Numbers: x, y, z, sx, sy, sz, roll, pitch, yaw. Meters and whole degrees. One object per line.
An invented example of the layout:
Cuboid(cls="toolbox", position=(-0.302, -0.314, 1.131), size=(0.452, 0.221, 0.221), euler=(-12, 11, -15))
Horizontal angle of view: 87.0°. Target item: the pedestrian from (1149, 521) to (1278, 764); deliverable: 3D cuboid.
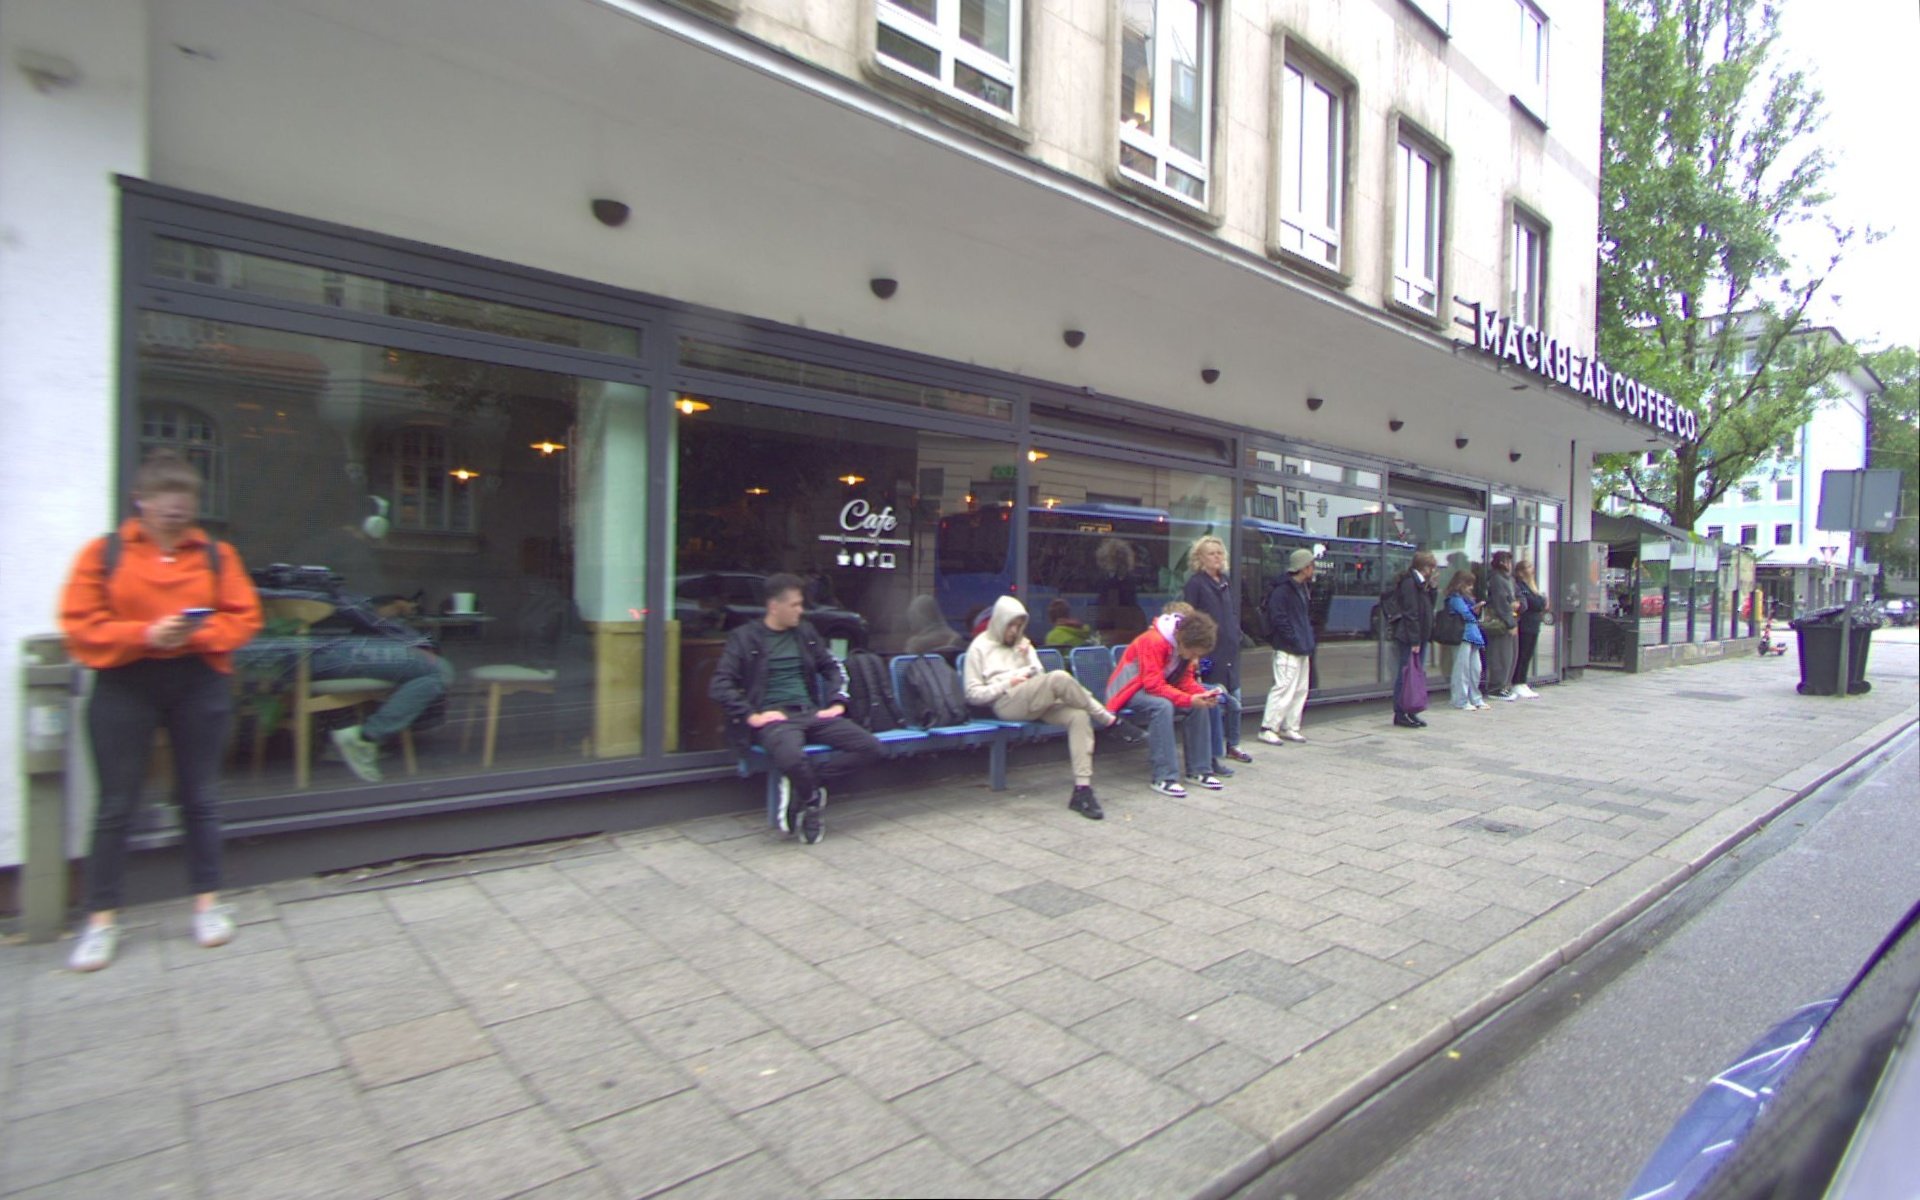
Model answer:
Cuboid(cls="pedestrian", position=(1.941, 0.295, 7.768), size=(0.672, 1.755, 0.659), euler=(0, 1, -40))

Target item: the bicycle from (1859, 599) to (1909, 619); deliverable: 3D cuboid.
Cuboid(cls="bicycle", position=(55.113, 0.540, 60.394), size=(2.114, 1.131, 0.621), euler=(2, 2, 40))

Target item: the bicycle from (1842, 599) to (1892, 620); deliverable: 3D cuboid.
Cuboid(cls="bicycle", position=(52.325, 0.558, 58.395), size=(2.114, 1.131, 0.621), euler=(2, 2, 40))

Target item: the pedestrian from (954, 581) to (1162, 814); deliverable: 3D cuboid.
Cuboid(cls="pedestrian", position=(0.575, 0.523, 6.158), size=(0.656, 1.252, 1.099), euler=(0, 1, -40))

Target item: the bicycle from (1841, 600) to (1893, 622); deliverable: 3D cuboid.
Cuboid(cls="bicycle", position=(50.409, 0.593, 56.259), size=(2.114, 1.131, 0.728), euler=(2, 2, 40))

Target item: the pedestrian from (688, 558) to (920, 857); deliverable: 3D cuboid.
Cuboid(cls="pedestrian", position=(-0.811, 0.477, 5.220), size=(0.847, 1.369, 0.862), euler=(0, 1, -40))

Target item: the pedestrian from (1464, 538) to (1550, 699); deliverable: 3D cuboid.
Cuboid(cls="pedestrian", position=(6.522, 0.207, 12.072), size=(0.684, 1.845, 0.659), euler=(0, 1, -40))

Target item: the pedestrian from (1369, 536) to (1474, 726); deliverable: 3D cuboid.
Cuboid(cls="pedestrian", position=(4.470, 0.277, 9.806), size=(0.684, 1.755, 0.659), euler=(0, 1, -40))

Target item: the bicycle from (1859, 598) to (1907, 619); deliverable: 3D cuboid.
Cuboid(cls="bicycle", position=(55.619, 0.497, 61.006), size=(2.114, 1.131, 0.621), euler=(2, 2, 40))

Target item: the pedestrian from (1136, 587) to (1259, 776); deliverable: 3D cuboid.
Cuboid(cls="pedestrian", position=(1.682, 0.542, 7.200), size=(0.487, 1.252, 0.681), euler=(0, 1, -40))

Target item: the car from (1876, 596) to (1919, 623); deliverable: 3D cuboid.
Cuboid(cls="car", position=(59.824, 0.586, 64.549), size=(3.931, 1.571, 1.717), euler=(0, 2, -42))

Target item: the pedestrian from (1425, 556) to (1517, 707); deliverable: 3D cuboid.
Cuboid(cls="pedestrian", position=(5.667, 0.325, 11.231), size=(0.684, 1.613, 0.659), euler=(0, 1, -40))

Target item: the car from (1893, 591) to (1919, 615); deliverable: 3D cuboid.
Cuboid(cls="car", position=(63.827, 0.195, 67.662), size=(3.931, 1.571, 1.717), euler=(0, 2, -42))

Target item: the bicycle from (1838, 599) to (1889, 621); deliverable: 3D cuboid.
Cuboid(cls="bicycle", position=(51.551, 0.560, 57.746), size=(2.114, 1.131, 0.621), euler=(2, 2, 40))

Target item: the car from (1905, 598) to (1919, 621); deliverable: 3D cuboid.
Cuboid(cls="car", position=(68.307, 0.647, 71.661), size=(3.931, 1.571, 1.717), euler=(0, 2, -42))

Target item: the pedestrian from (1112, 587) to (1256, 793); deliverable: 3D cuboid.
Cuboid(cls="pedestrian", position=(1.471, 0.548, 6.680), size=(0.574, 1.252, 0.709), euler=(0, 1, -40))

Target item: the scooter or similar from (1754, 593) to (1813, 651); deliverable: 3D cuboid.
Cuboid(cls="scooter or similar", position=(18.475, 0.473, 22.702), size=(1.415, 1.257, 0.565), euler=(0, 1, -30))

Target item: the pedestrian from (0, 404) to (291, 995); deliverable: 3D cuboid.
Cuboid(cls="pedestrian", position=(-2.801, 0.287, 3.499), size=(0.733, 1.755, 0.704), euler=(0, 1, -40))

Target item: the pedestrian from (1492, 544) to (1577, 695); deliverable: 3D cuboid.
Cuboid(cls="pedestrian", position=(7.117, 0.223, 12.538), size=(0.757, 1.805, 0.659), euler=(0, 1, -40))

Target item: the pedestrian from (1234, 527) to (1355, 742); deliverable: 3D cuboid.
Cuboid(cls="pedestrian", position=(2.894, 0.270, 8.766), size=(0.764, 1.755, 0.659), euler=(0, 1, -40))

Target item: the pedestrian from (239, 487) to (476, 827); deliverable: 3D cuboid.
Cuboid(cls="pedestrian", position=(-2.829, 0.224, 4.748), size=(0.829, 1.405, 0.771), euler=(0, 1, -41))

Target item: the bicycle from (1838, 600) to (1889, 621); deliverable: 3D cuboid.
Cuboid(cls="bicycle", position=(51.040, 0.578, 57.185), size=(2.114, 1.131, 0.621), euler=(2, 2, 40))

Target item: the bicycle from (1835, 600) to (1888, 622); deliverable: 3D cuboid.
Cuboid(cls="bicycle", position=(49.638, 0.583, 55.735), size=(2.114, 1.131, 0.728), euler=(2, 2, 40))

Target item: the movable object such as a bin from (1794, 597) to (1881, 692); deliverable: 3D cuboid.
Cuboid(cls="movable object such as a bin", position=(12.481, 0.603, 14.396), size=(0.875, 1.266, 0.786), euler=(2, 1, 44))

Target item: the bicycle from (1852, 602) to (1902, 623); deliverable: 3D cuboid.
Cuboid(cls="bicycle", position=(54.044, 0.742, 59.668), size=(2.114, 1.131, 0.621), euler=(2, 2, 40))

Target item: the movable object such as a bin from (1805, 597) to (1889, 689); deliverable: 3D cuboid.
Cuboid(cls="movable object such as a bin", position=(13.102, 0.610, 14.946), size=(0.875, 1.266, 0.786), euler=(2, 1, 44))
